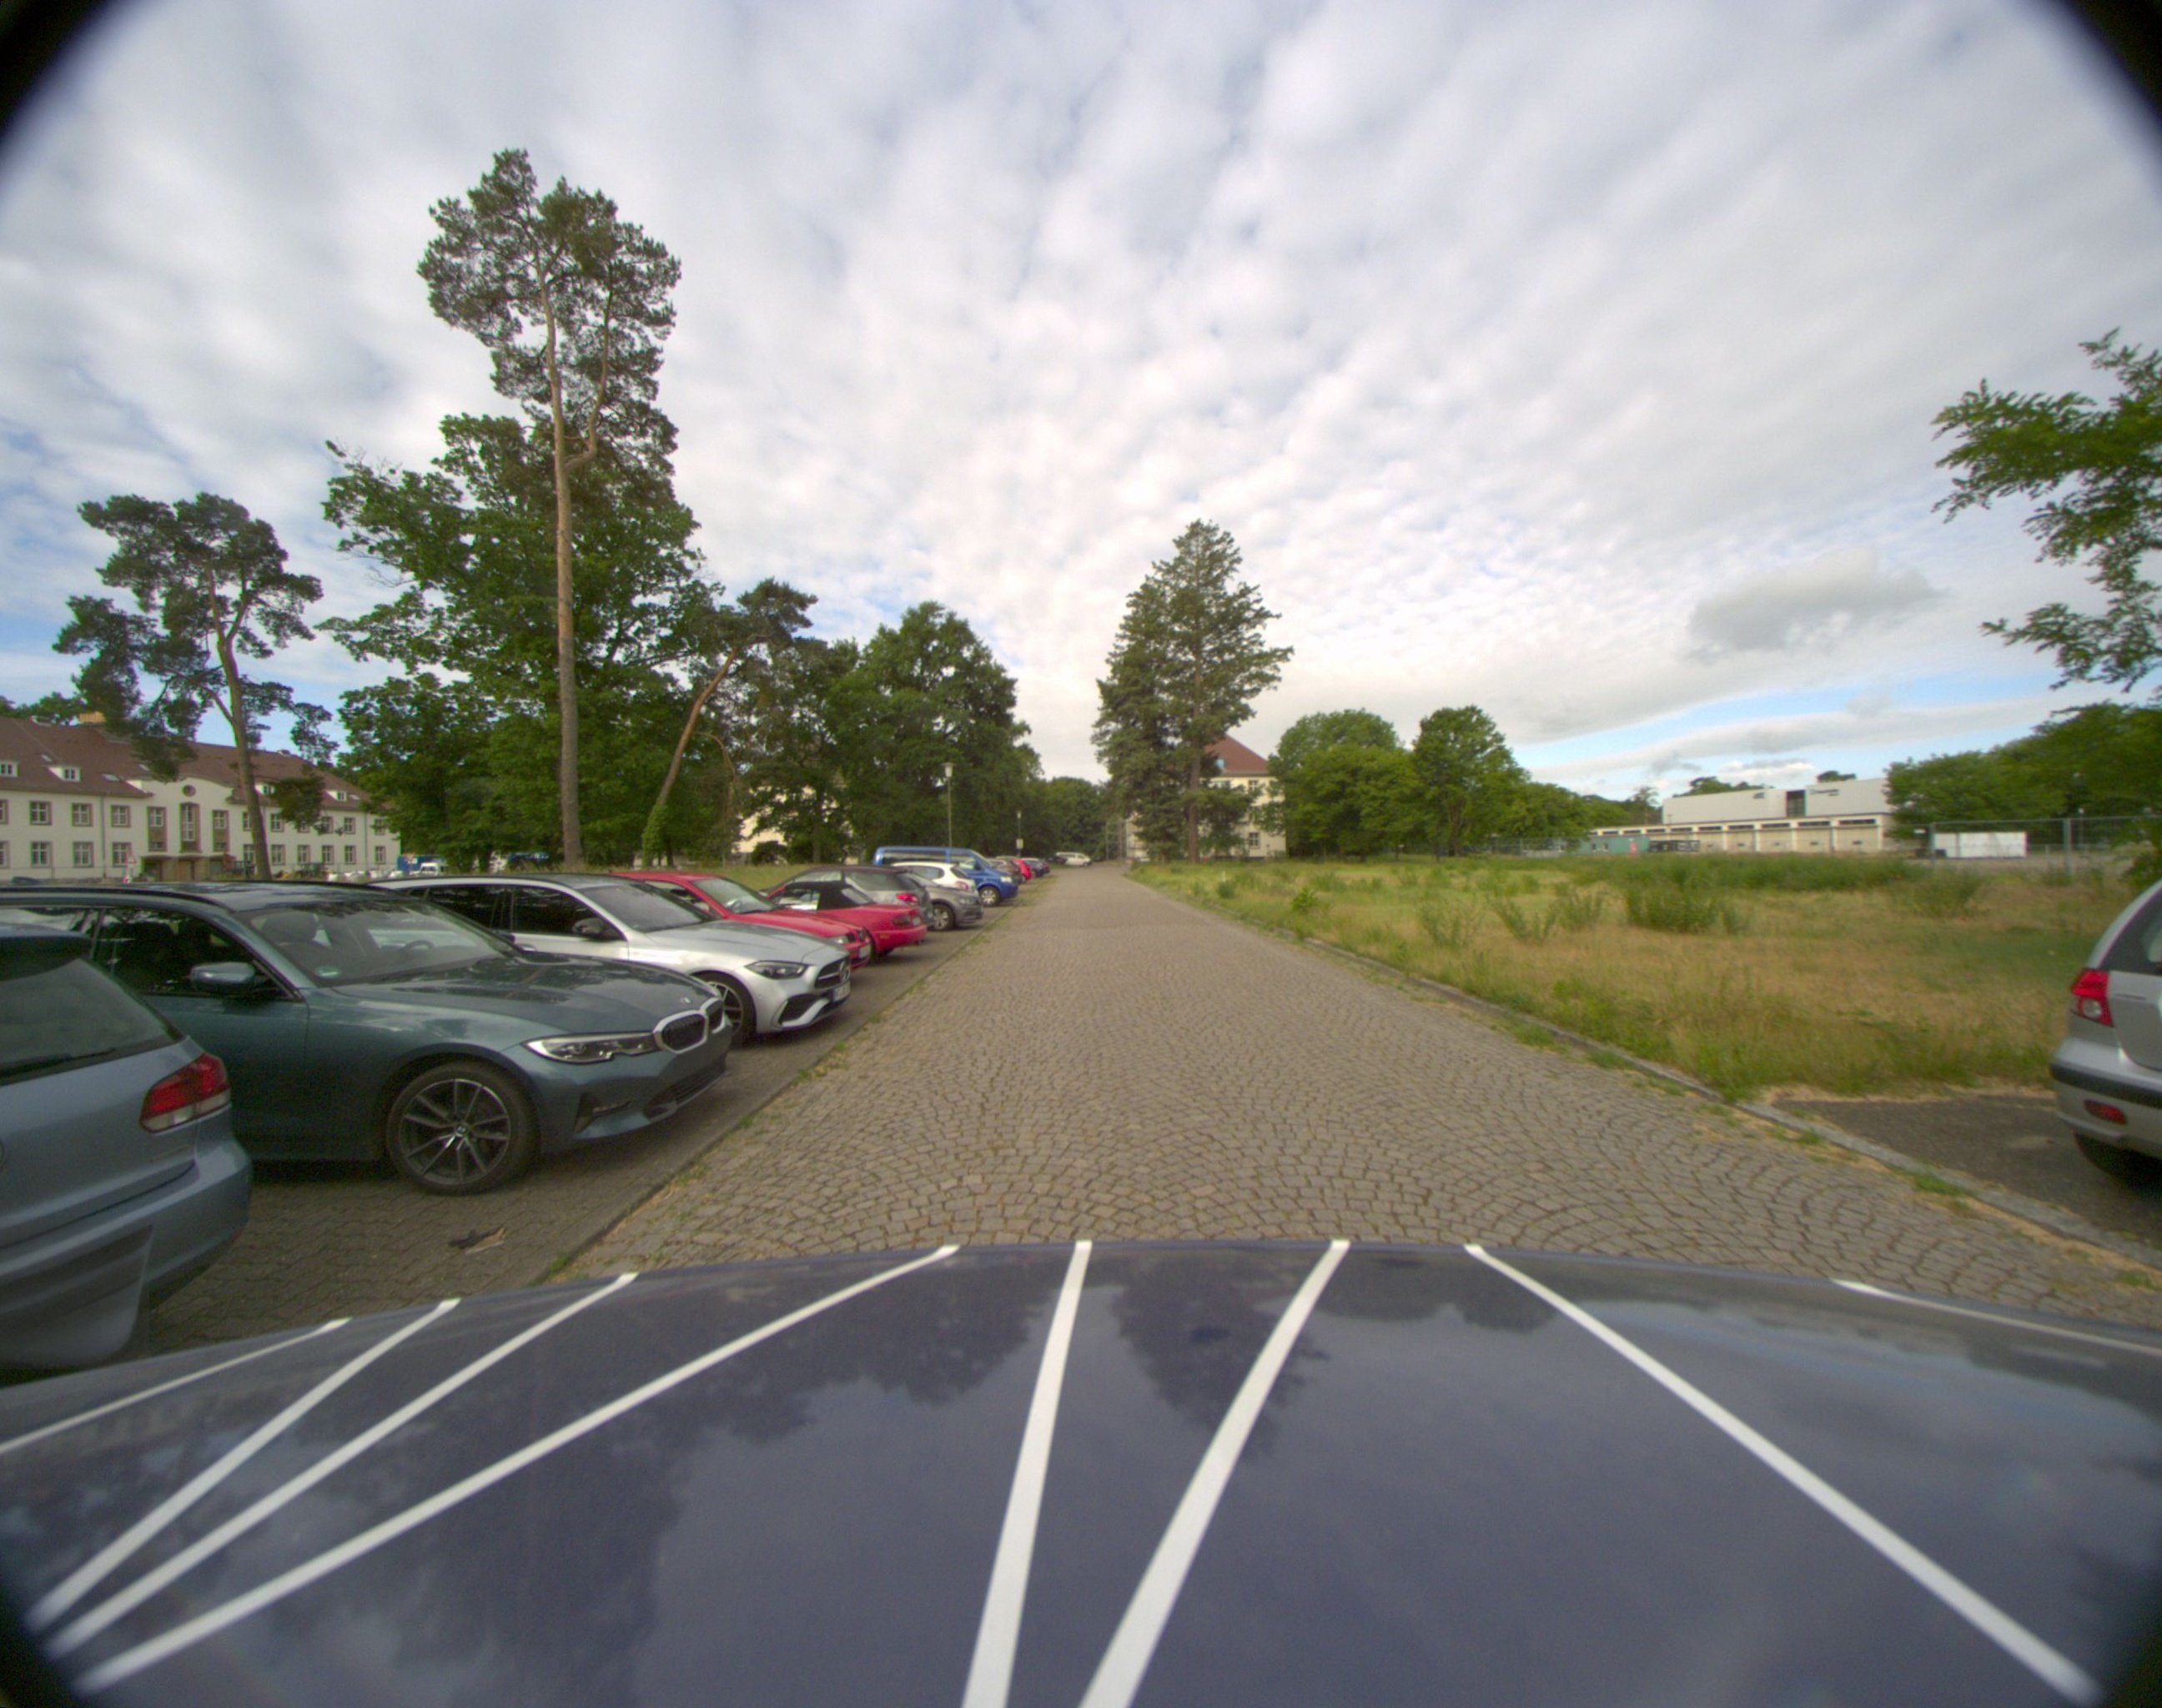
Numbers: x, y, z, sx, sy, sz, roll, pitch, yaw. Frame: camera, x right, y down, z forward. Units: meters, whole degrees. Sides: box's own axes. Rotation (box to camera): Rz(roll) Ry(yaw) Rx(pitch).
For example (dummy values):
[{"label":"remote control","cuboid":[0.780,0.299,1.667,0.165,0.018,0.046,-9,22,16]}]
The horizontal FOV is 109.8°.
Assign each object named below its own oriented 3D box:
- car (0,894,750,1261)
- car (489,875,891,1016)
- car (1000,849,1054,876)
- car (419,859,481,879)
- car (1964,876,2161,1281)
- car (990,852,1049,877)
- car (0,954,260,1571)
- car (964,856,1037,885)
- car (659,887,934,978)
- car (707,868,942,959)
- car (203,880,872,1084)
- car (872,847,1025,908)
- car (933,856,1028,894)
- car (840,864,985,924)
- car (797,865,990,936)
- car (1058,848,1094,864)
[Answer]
[{"label":"car","cuboid":[-4.636,1.054,4.234,4.770,1.474,1.761,-1,0,-3]},{"label":"car","cuboid":[-4.566,1.042,9.338,3.972,1.444,1.800,-1,0,0]},{"label":"car","cuboid":[-4.162,0.674,59.364,3.996,2.002,2.000,-1,0,1]},{"label":"car","cuboid":[-68.046,1.557,82.051,2.153,2.002,5.225,-1,0,3]},{"label":"car","cuboid":[5.877,0.768,2.633,3.688,1.444,1.807,-4,1,-4]},{"label":"car","cuboid":[-4.421,0.757,54.968,4.007,1.752,2.000,-1,0,1]},{"label":"car","cuboid":[-4.496,1.019,1.594,3.773,1.418,1.605,0,0,0]},{"label":"car","cuboid":[-4.686,0.963,44.721,3.997,1.521,2.000,-2,0,0]},{"label":"car","cuboid":[-4.204,1.155,11.589,3.600,1.200,1.495,-1,0,1]},{"label":"car","cuboid":[-4.680,1.064,14.313,3.787,1.497,1.799,-1,0,-2]},{"label":"car","cuboid":[-4.563,1.051,6.936,4.769,1.474,1.812,-1,0,0]},{"label":"car","cuboid":[-4.335,0.757,25.447,4.749,1.928,2.000,0,1,0]},{"label":"car","cuboid":[-4.497,0.916,34.389,3.997,1.601,2.000,-1,0,0]},{"label":"car","cuboid":[-4.361,1.013,20.024,3.408,1.443,1.637,-1,0,1]},{"label":"car","cuboid":[-4.140,1.019,17.200,3.848,1.448,1.820,-1,0,3]},{"label":"car","cuboid":[-0.729,0.329,108.228,5.031,2.164,2.000,-1,0,2]}]
